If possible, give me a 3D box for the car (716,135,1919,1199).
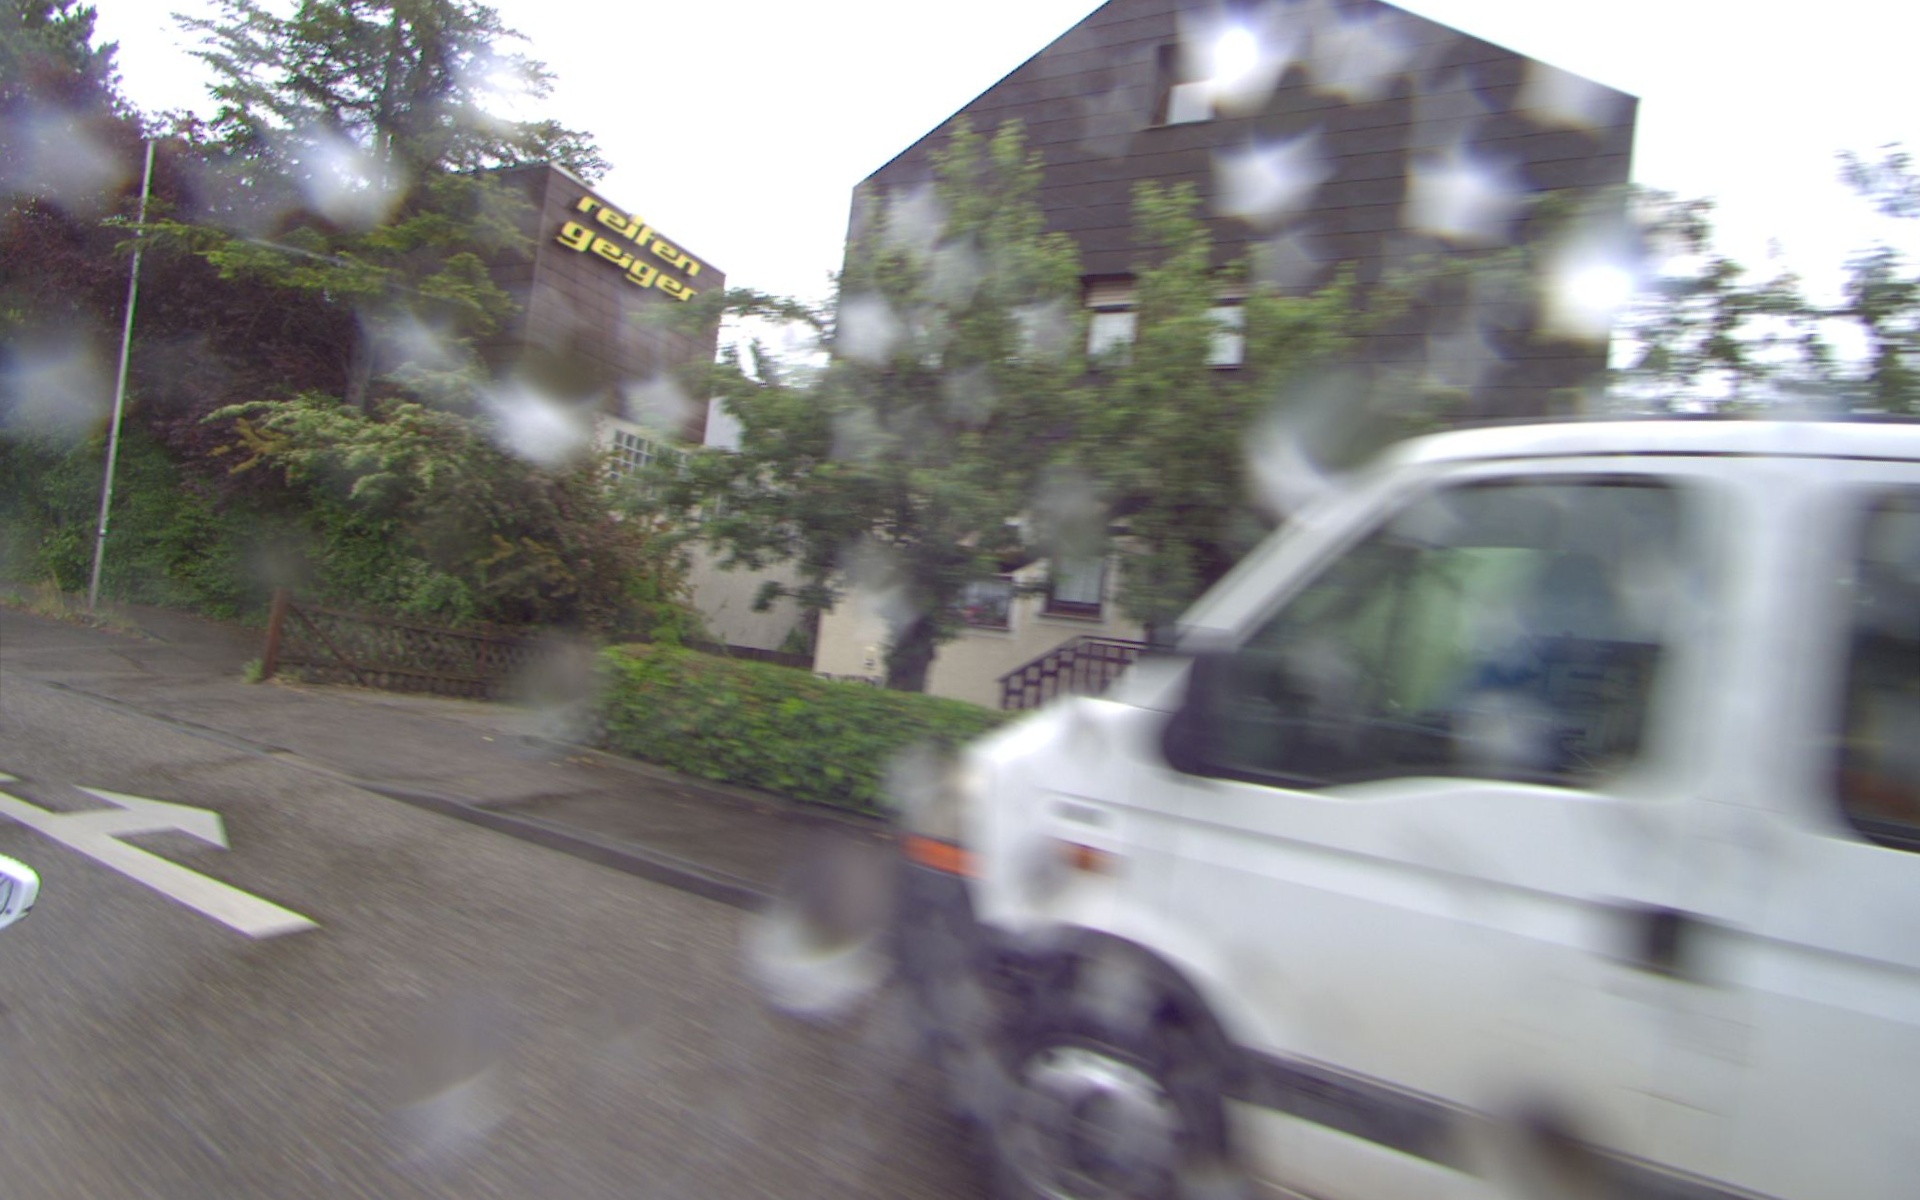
[{"bbox_3d":[2.851,0.694,2.186,6.320,2.460,2.398,7,-1,27],"label":"car"}]
